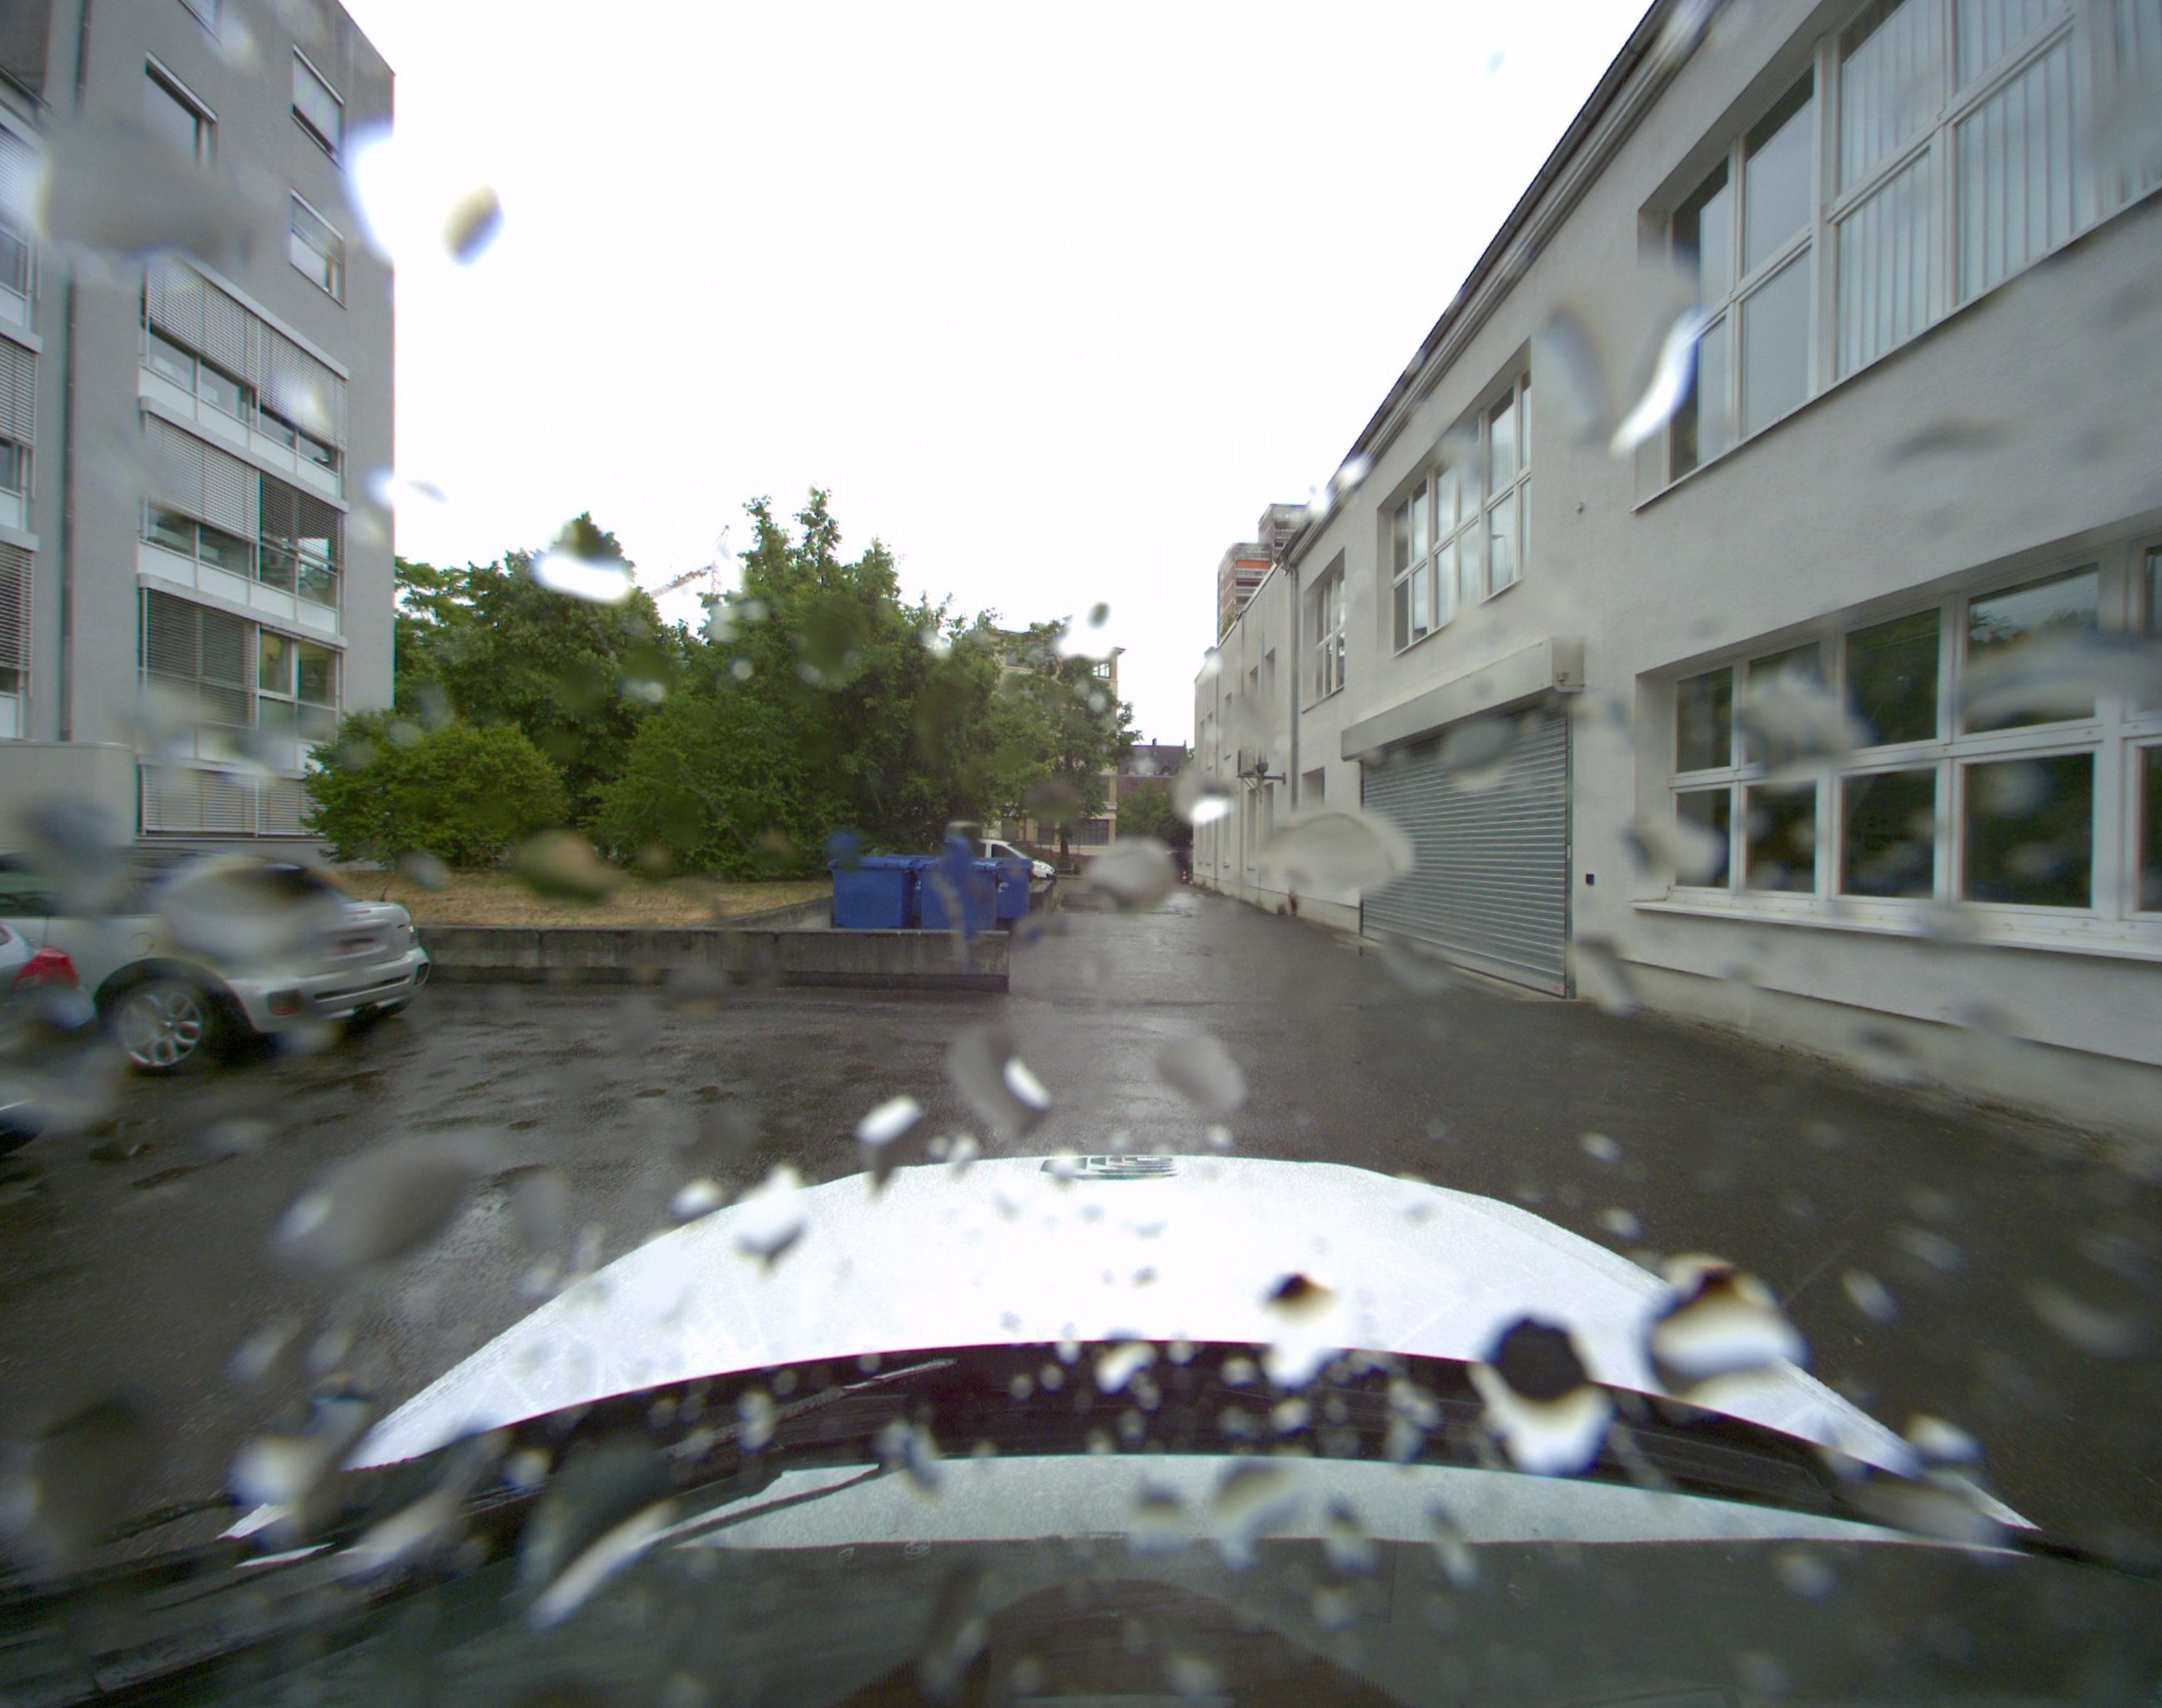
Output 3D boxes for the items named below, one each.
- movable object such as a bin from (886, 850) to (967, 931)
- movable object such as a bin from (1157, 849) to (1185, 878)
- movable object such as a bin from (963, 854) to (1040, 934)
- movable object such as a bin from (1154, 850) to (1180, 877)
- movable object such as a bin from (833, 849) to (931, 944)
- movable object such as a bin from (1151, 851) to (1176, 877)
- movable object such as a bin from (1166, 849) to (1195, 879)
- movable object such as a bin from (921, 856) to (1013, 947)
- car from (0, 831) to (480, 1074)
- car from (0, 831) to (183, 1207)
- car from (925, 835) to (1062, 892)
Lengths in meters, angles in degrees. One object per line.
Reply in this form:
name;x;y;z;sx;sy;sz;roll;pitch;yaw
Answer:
movable object such as a bin;-2.694;0.624;14.345;1.217;1.337;1.007;1;1;0
movable object such as a bin;4.525;0.493;40.926;1.211;1.437;1.293;1;-2;-2
movable object such as a bin;-1.374;0.674;14.325;1.217;1.337;1.007;1;1;0
movable object such as a bin;4.617;0.518;43.938;1.211;1.437;1.258;1;-2;-2
movable object such as a bin;-3.070;0.631;12.701;1.198;1.336;1.117;2;2;0
movable object such as a bin;4.596;0.563;45.316;1.211;1.437;1.258;1;-2;-2
movable object such as a bin;4.787;0.492;39.240;1.211;1.437;1.235;1;-2;-2
movable object such as a bin;-1.751;0.704;12.733;1.197;1.337;1.118;1;0;4
car;-7.152;0.582;5.848;4.157;1.333;1.820;3;1;-4
car;-6.317;0.635;2.801;4.159;1.483;1.819;1;1;-6
car;-3.124;0.317;29.841;4.763;2.013;2.000;0;1;1
